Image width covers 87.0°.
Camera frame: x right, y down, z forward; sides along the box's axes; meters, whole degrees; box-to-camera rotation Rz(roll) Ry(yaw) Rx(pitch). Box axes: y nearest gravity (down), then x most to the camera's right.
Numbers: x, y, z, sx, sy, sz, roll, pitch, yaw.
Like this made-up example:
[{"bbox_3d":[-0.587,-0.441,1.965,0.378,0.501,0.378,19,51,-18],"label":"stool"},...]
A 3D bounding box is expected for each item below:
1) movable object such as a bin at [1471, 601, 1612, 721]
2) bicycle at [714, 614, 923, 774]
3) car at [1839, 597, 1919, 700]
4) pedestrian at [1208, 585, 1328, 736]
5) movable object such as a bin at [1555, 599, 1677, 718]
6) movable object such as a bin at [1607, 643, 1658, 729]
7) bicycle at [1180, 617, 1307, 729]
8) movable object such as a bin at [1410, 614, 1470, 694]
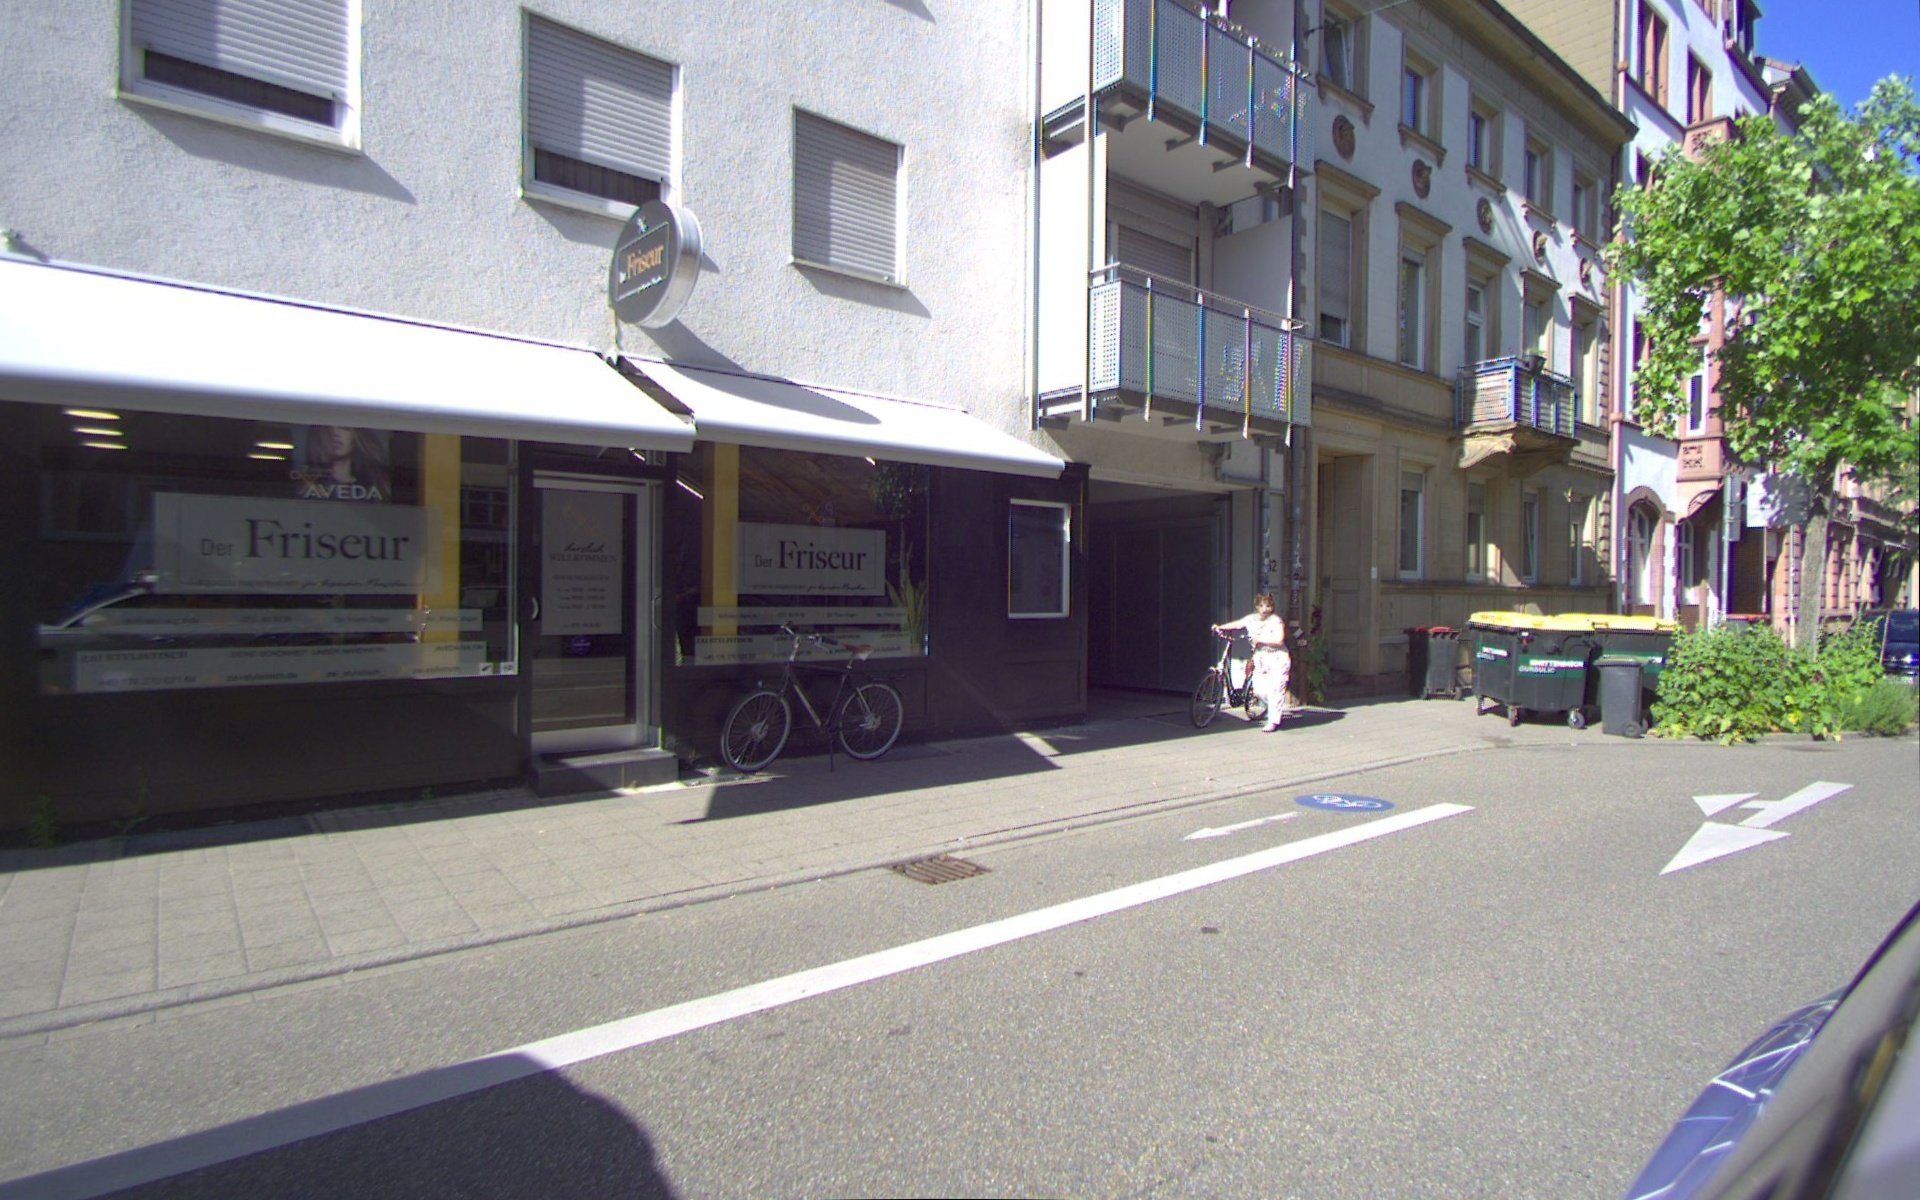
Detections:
[{"bbox_3d":[7.223,0.727,12.654,1.031,1.341,1.215,1,3,3],"label":"movable object such as a bin"},{"bbox_3d":[-1.136,0.725,8.413,1.760,1.193,0.402,0,0,-39],"label":"bicycle"},{"bbox_3d":[15.315,0.718,16.065,3.292,1.510,1.550,0,1,-40],"label":"car"},{"bbox_3d":[3.440,0.634,11.319,0.929,1.556,0.825,0,4,-39],"label":"pedestrian"},{"bbox_3d":[8.348,0.714,12.946,0.944,1.365,1.066,1,3,13],"label":"movable object such as a bin"},{"bbox_3d":[7.933,0.998,11.943,0.400,0.933,0.477,3,3,43],"label":"movable object such as a bin"},{"bbox_3d":[3.209,0.780,11.363,1.760,1.146,0.402,0,2,-39],"label":"bicycle"},{"bbox_3d":[6.968,0.769,14.707,0.557,1.094,0.617,1,3,3],"label":"movable object such as a bin"}]
